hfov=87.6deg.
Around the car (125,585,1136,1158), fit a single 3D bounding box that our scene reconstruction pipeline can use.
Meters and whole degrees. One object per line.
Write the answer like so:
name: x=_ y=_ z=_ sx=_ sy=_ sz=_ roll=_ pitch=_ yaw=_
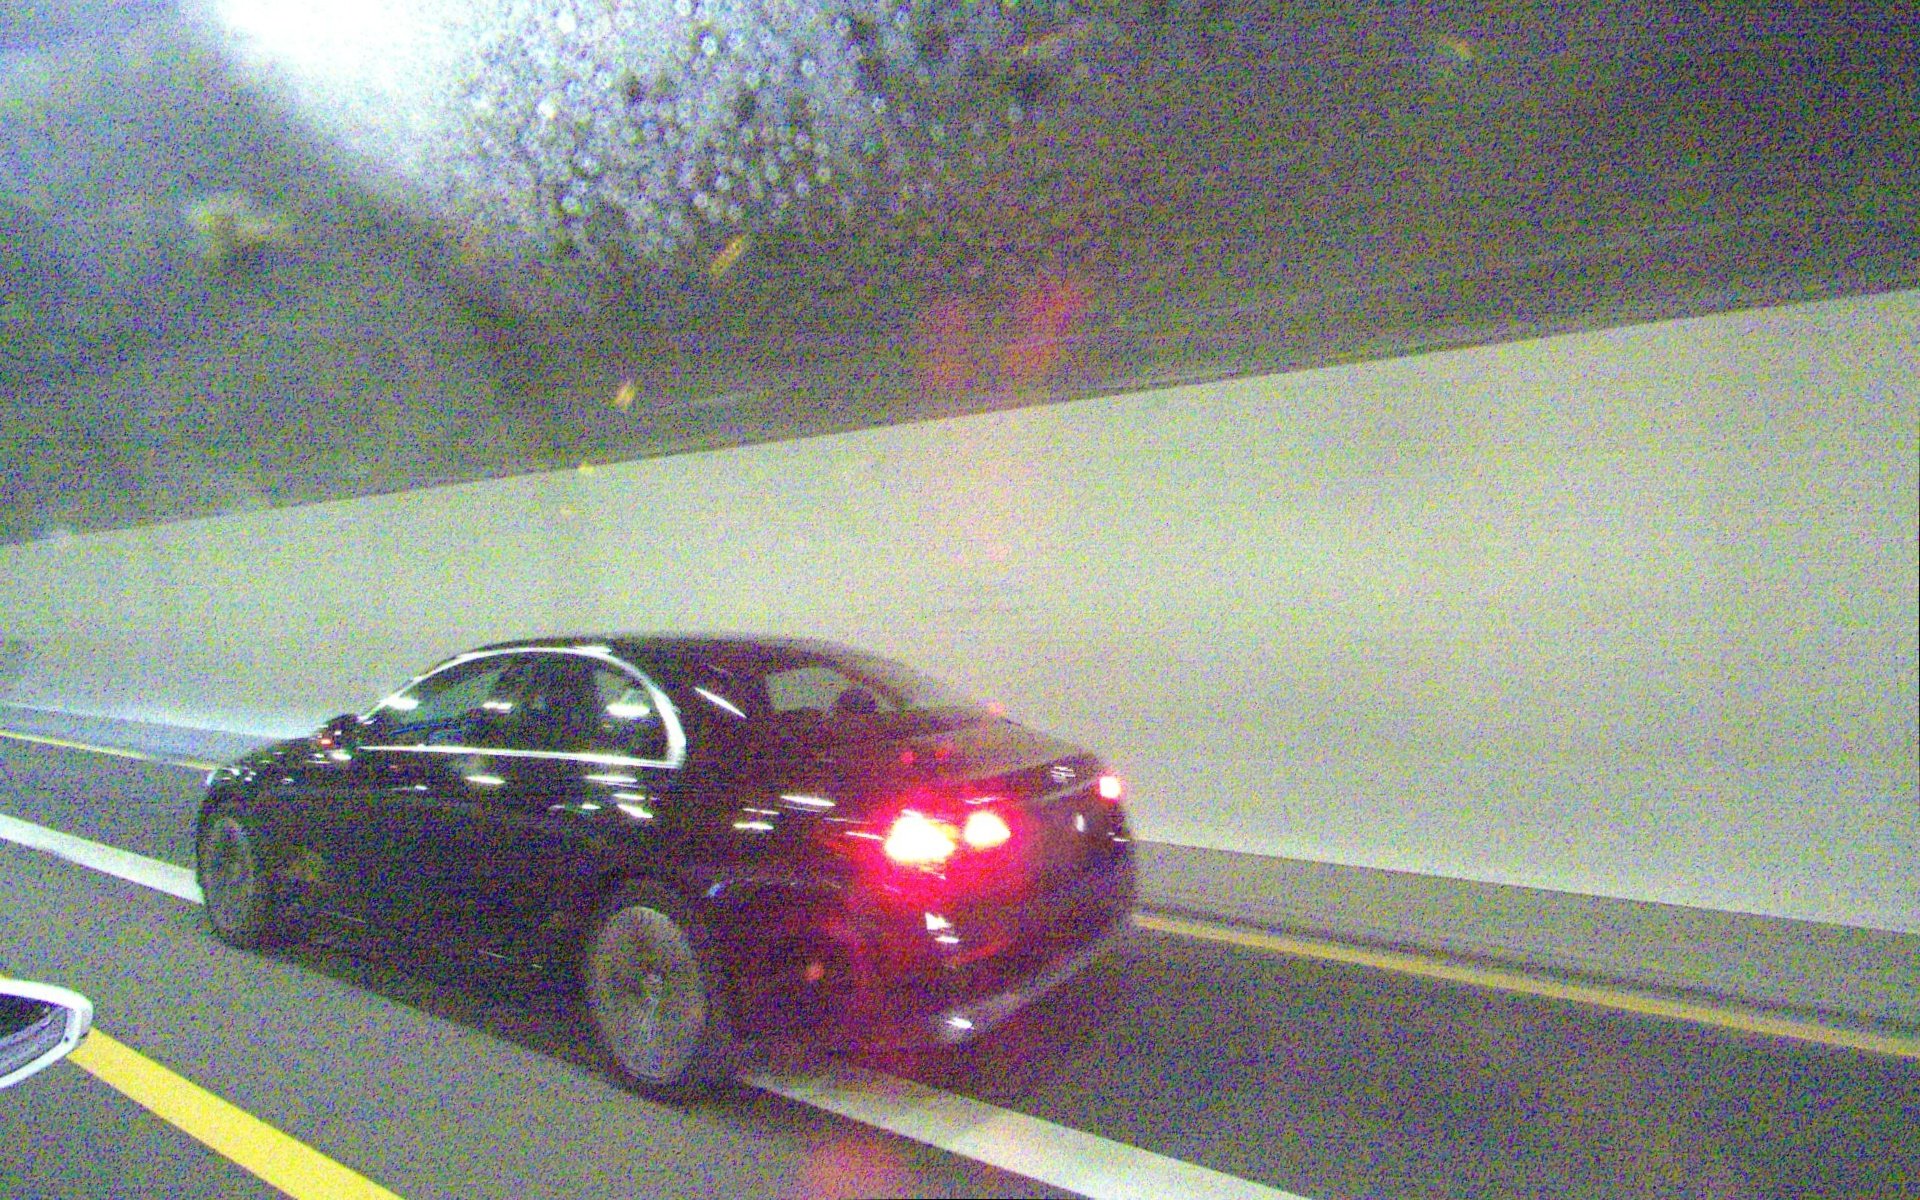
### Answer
car: x=-1.813 y=0.795 z=4.764 sx=4.884 sy=1.490 sz=1.923 roll=-1 pitch=-3 yaw=33
